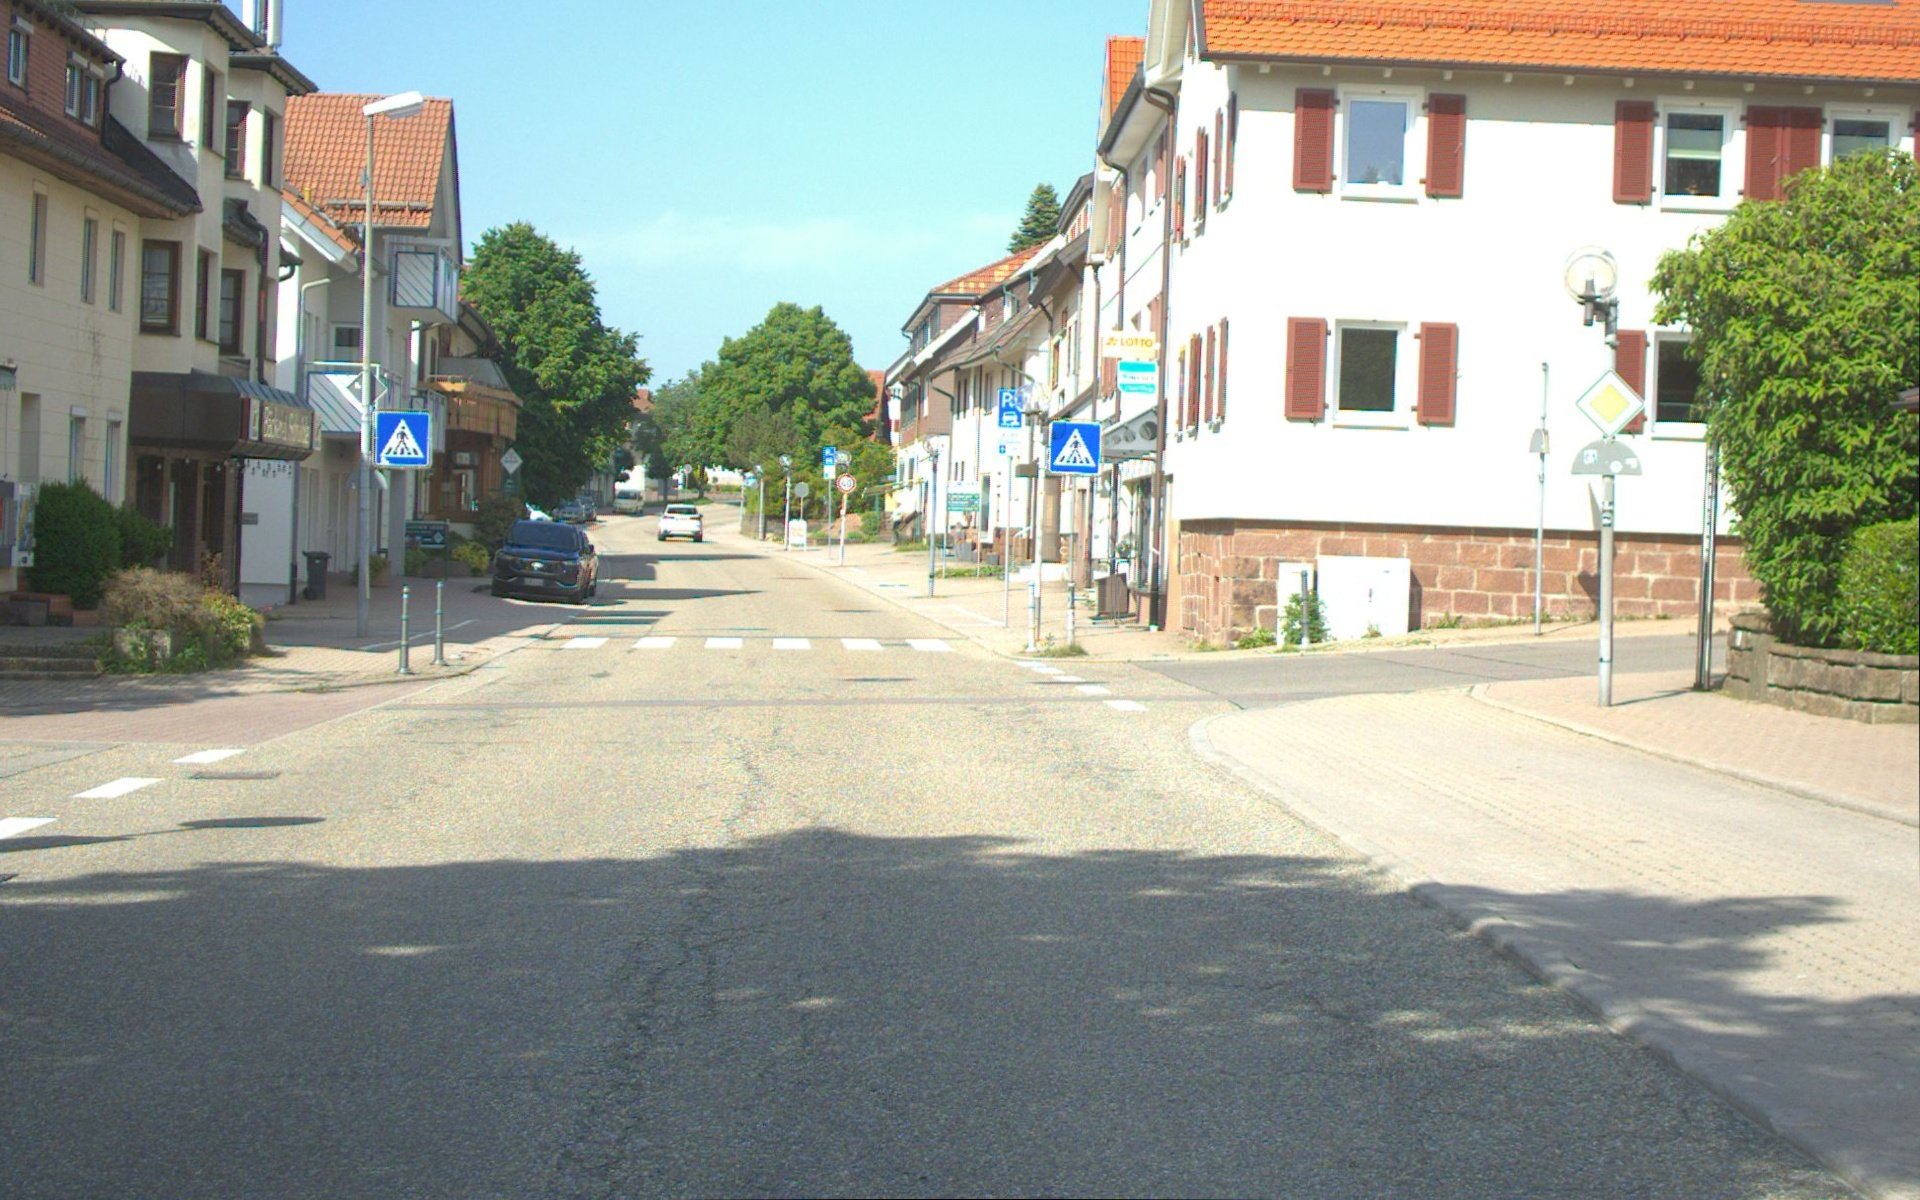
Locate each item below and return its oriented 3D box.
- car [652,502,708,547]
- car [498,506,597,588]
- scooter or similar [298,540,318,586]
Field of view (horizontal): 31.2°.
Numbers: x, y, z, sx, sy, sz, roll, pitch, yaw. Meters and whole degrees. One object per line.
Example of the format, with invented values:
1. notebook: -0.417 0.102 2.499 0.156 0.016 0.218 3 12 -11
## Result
1. car: -13.149 -3.528 161.120 2.495 2.007 4.305 -1 1 -5
2. car: -8.620 -1.118 72.071 1.672 1.528 3.536 5 1 -2
3. scooter or similar: -12.578 -0.711 66.337 0.351 0.887 0.395 -1 1 -8
